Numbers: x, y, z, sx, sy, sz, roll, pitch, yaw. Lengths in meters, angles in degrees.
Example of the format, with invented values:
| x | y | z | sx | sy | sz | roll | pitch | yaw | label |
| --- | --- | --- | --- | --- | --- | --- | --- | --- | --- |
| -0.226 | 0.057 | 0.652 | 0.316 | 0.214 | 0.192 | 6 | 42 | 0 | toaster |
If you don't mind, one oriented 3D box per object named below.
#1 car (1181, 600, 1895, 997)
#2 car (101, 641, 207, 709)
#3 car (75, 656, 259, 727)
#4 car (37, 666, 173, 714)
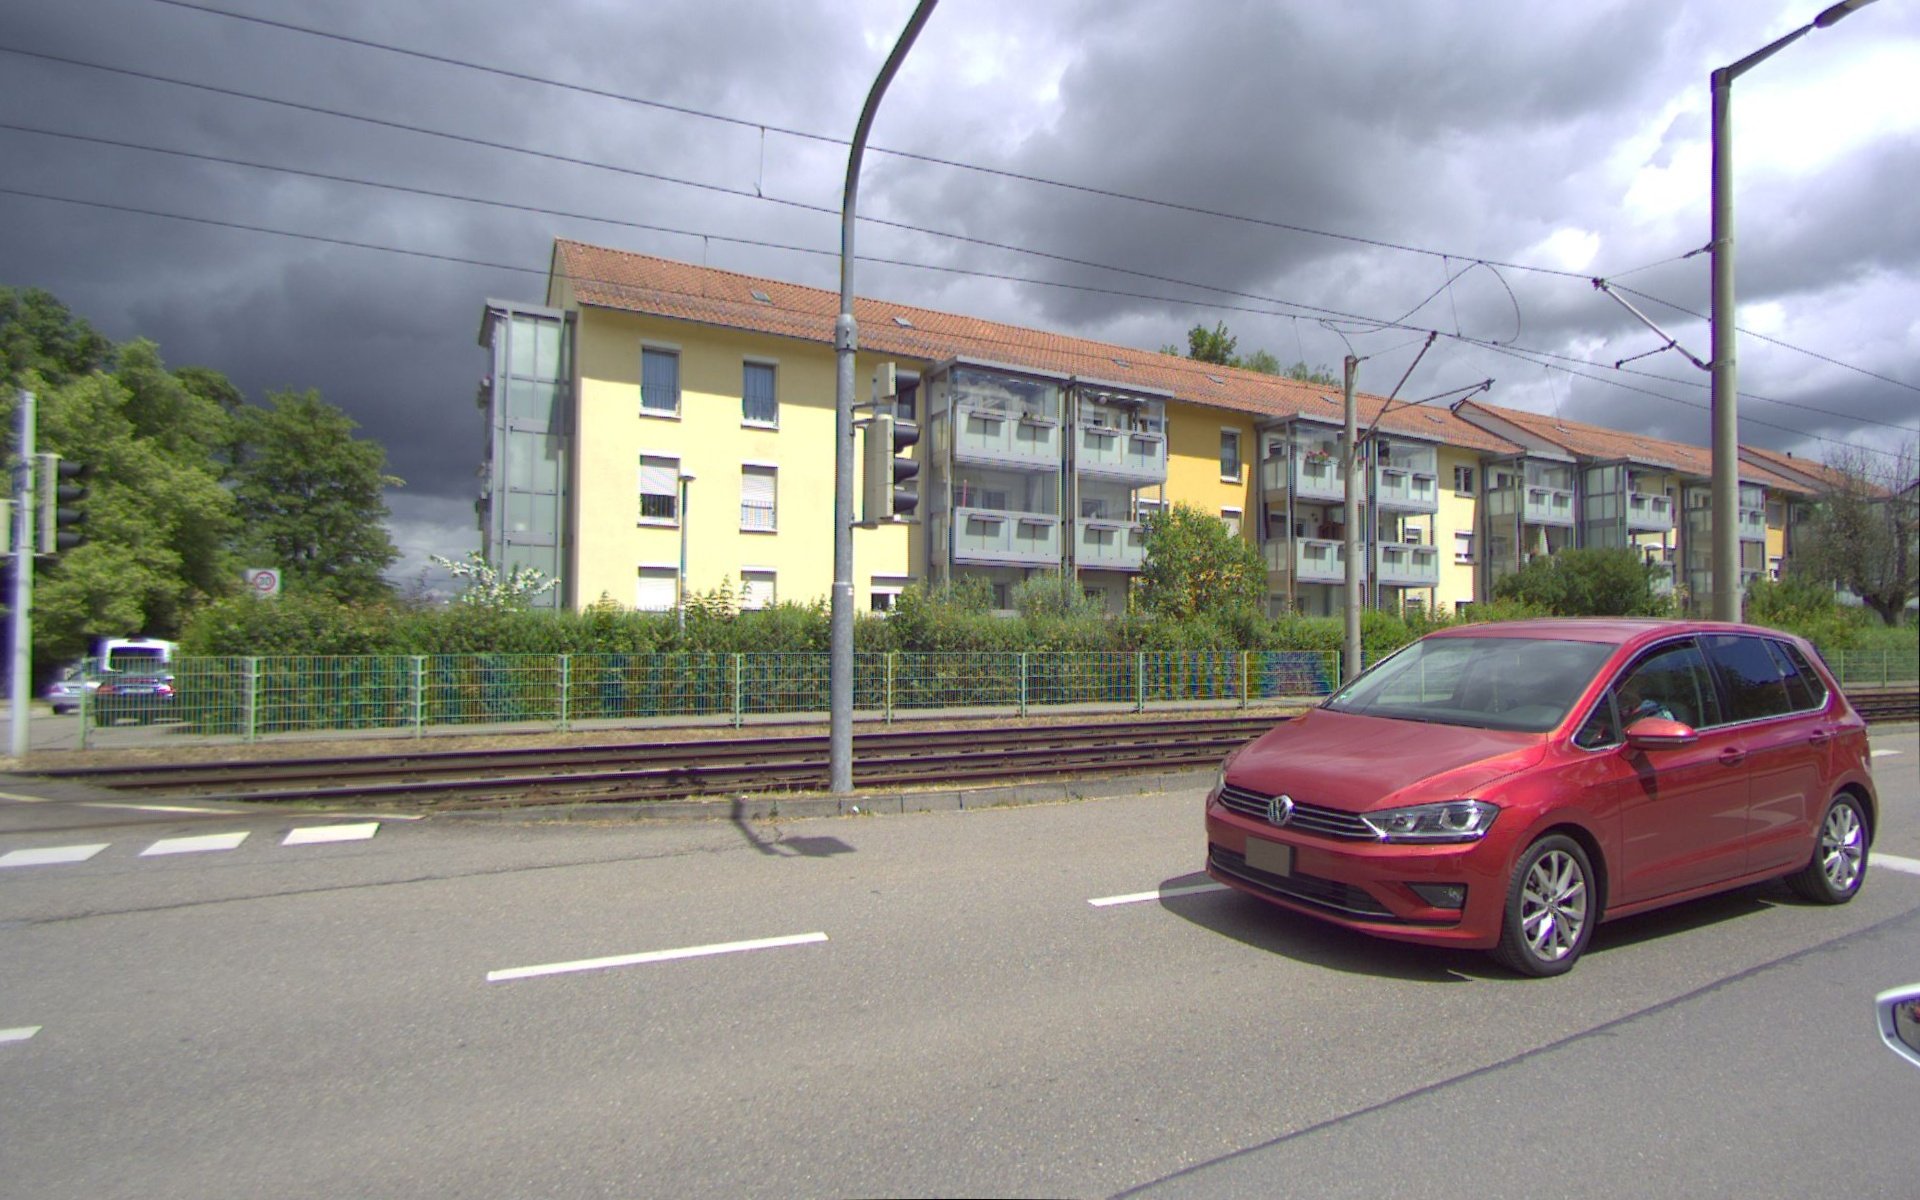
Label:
| x | y | z | sx | sy | sz | roll | pitch | yaw | label |
| --- | --- | --- | --- | --- | --- | --- | --- | --- | --- |
| 3.330 | 0.835 | 5.658 | 3.950 | 1.572 | 1.657 | 1 | -1 | -28 | car |
| -30.170 | 2.883 | 37.761 | 1.972 | 2.386 | 3.981 | 2 | -6 | -23 | car |
| -18.079 | 2.124 | 23.163 | 1.968 | 1.485 | 3.987 | 1 | -6 | -18 | car |
| -28.244 | 3.015 | 33.355 | 1.968 | 1.485 | 3.987 | 1 | -6 | -18 | car |
